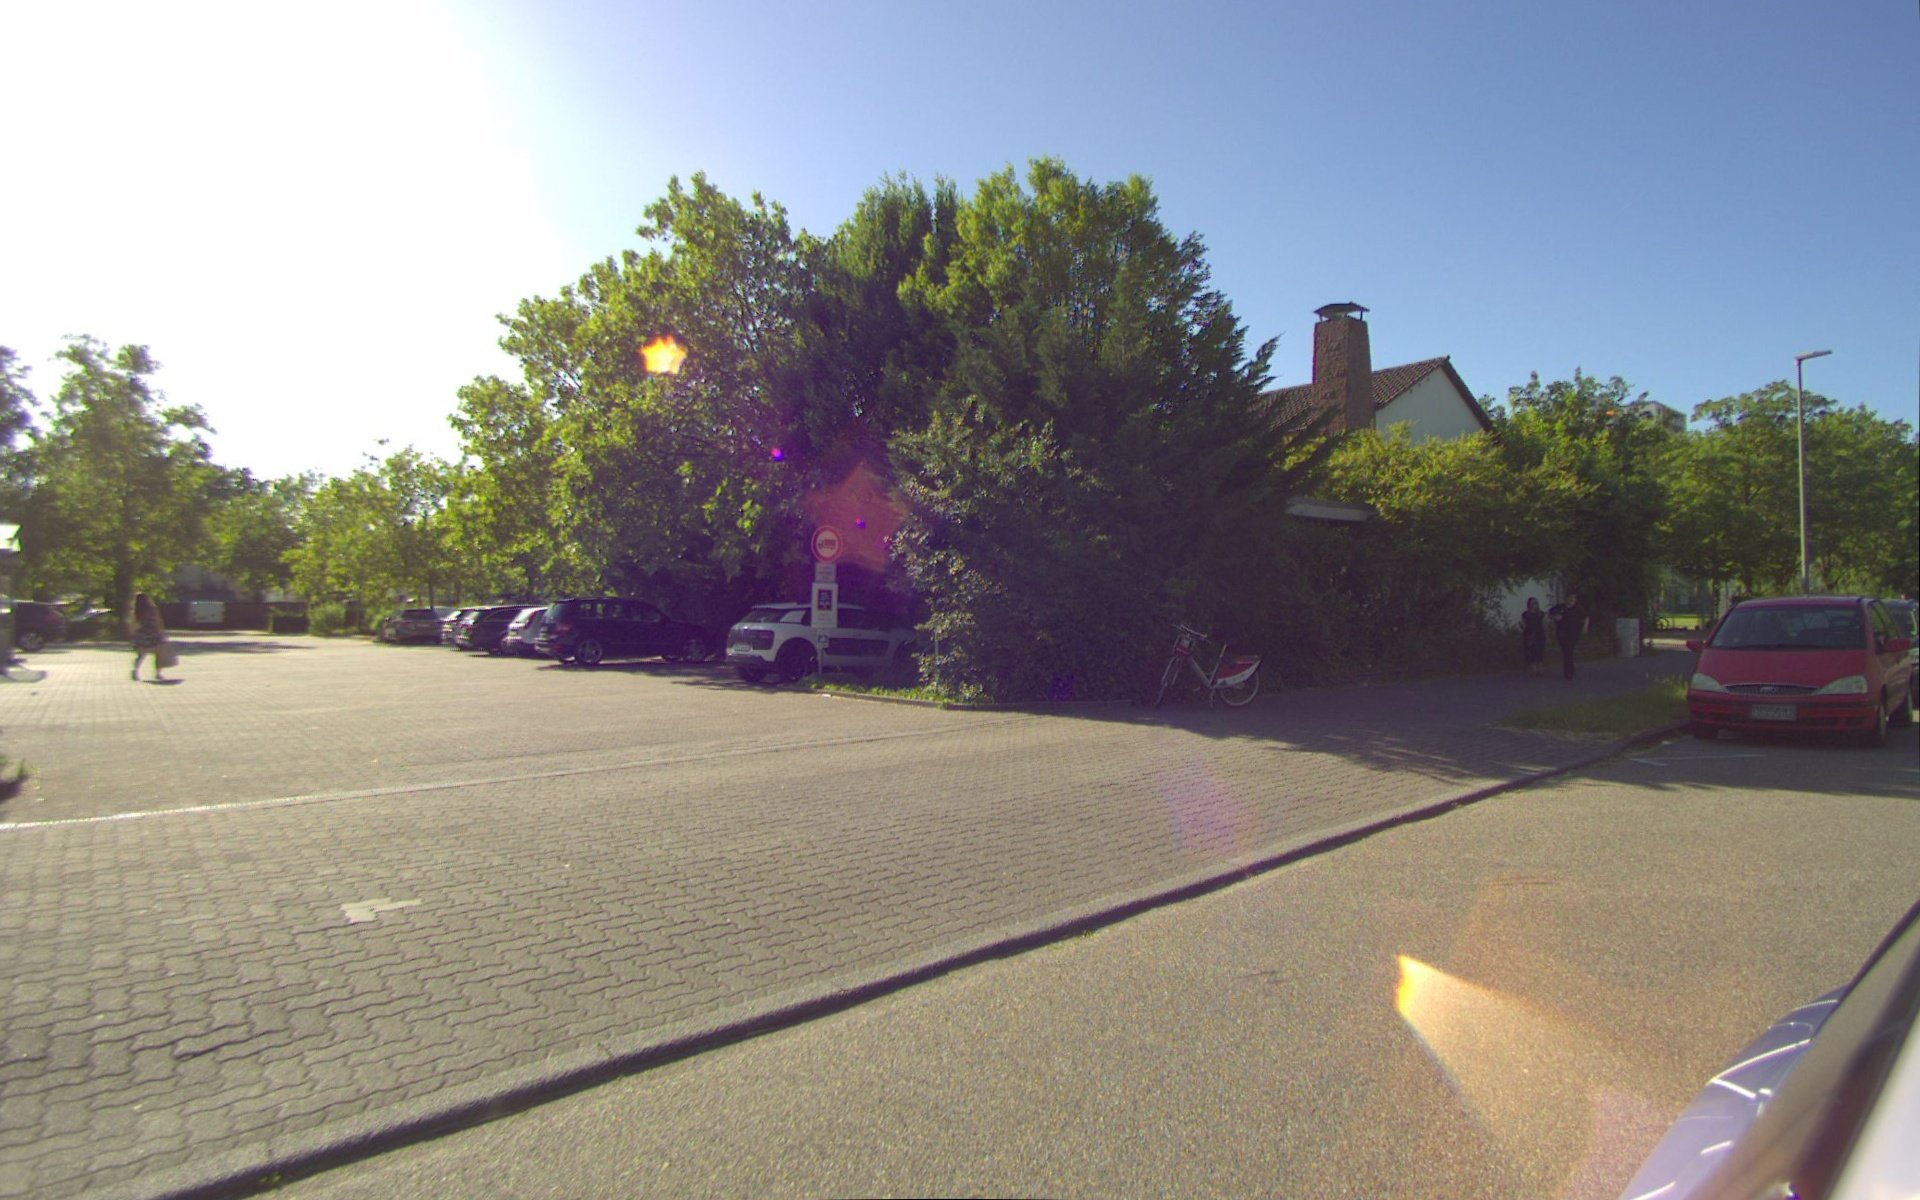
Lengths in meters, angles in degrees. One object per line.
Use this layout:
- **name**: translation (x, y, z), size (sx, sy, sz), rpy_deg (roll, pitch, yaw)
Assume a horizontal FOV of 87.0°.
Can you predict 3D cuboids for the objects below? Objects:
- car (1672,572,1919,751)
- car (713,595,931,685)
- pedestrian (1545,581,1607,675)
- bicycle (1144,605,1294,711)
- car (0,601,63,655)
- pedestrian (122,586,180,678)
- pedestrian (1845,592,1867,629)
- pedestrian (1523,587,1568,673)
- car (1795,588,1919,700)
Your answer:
- **car**: translation (10.640, 0.639, 12.555), size (4.571, 1.828, 1.843), rpy_deg (0, -1, -40)
- **car**: translation (-2.535, 0.691, 19.071), size (3.736, 1.522, 1.775), rpy_deg (0, -1, -41)
- **pedestrian**: translation (11.913, 0.514, 19.576), size (0.968, 1.738, 0.804), rpy_deg (-2, 2, -44)
- **bicycle**: translation (3.373, 0.718, 13.167), size (1.857, 1.236, 0.724), rpy_deg (-1, 2, -25)
- **car**: translation (-31.580, 0.892, 32.597), size (3.930, 1.728, 1.997), rpy_deg (0, -1, -41)
- **pedestrian**: translation (-15.250, 0.588, 19.087), size (0.814, 1.677, 0.672), rpy_deg (1, -1, -42)
- **pedestrian**: translation (40.576, 0.451, 45.819), size (0.629, 1.659, 0.641), rpy_deg (0, -1, -38)
- **pedestrian**: translation (11.543, 0.573, 19.950), size (0.780, 1.629, 0.573), rpy_deg (-2, 2, -44)
- **car**: translation (15.486, 0.658, 16.893), size (4.277, 1.677, 1.727), rpy_deg (0, -1, -42)
